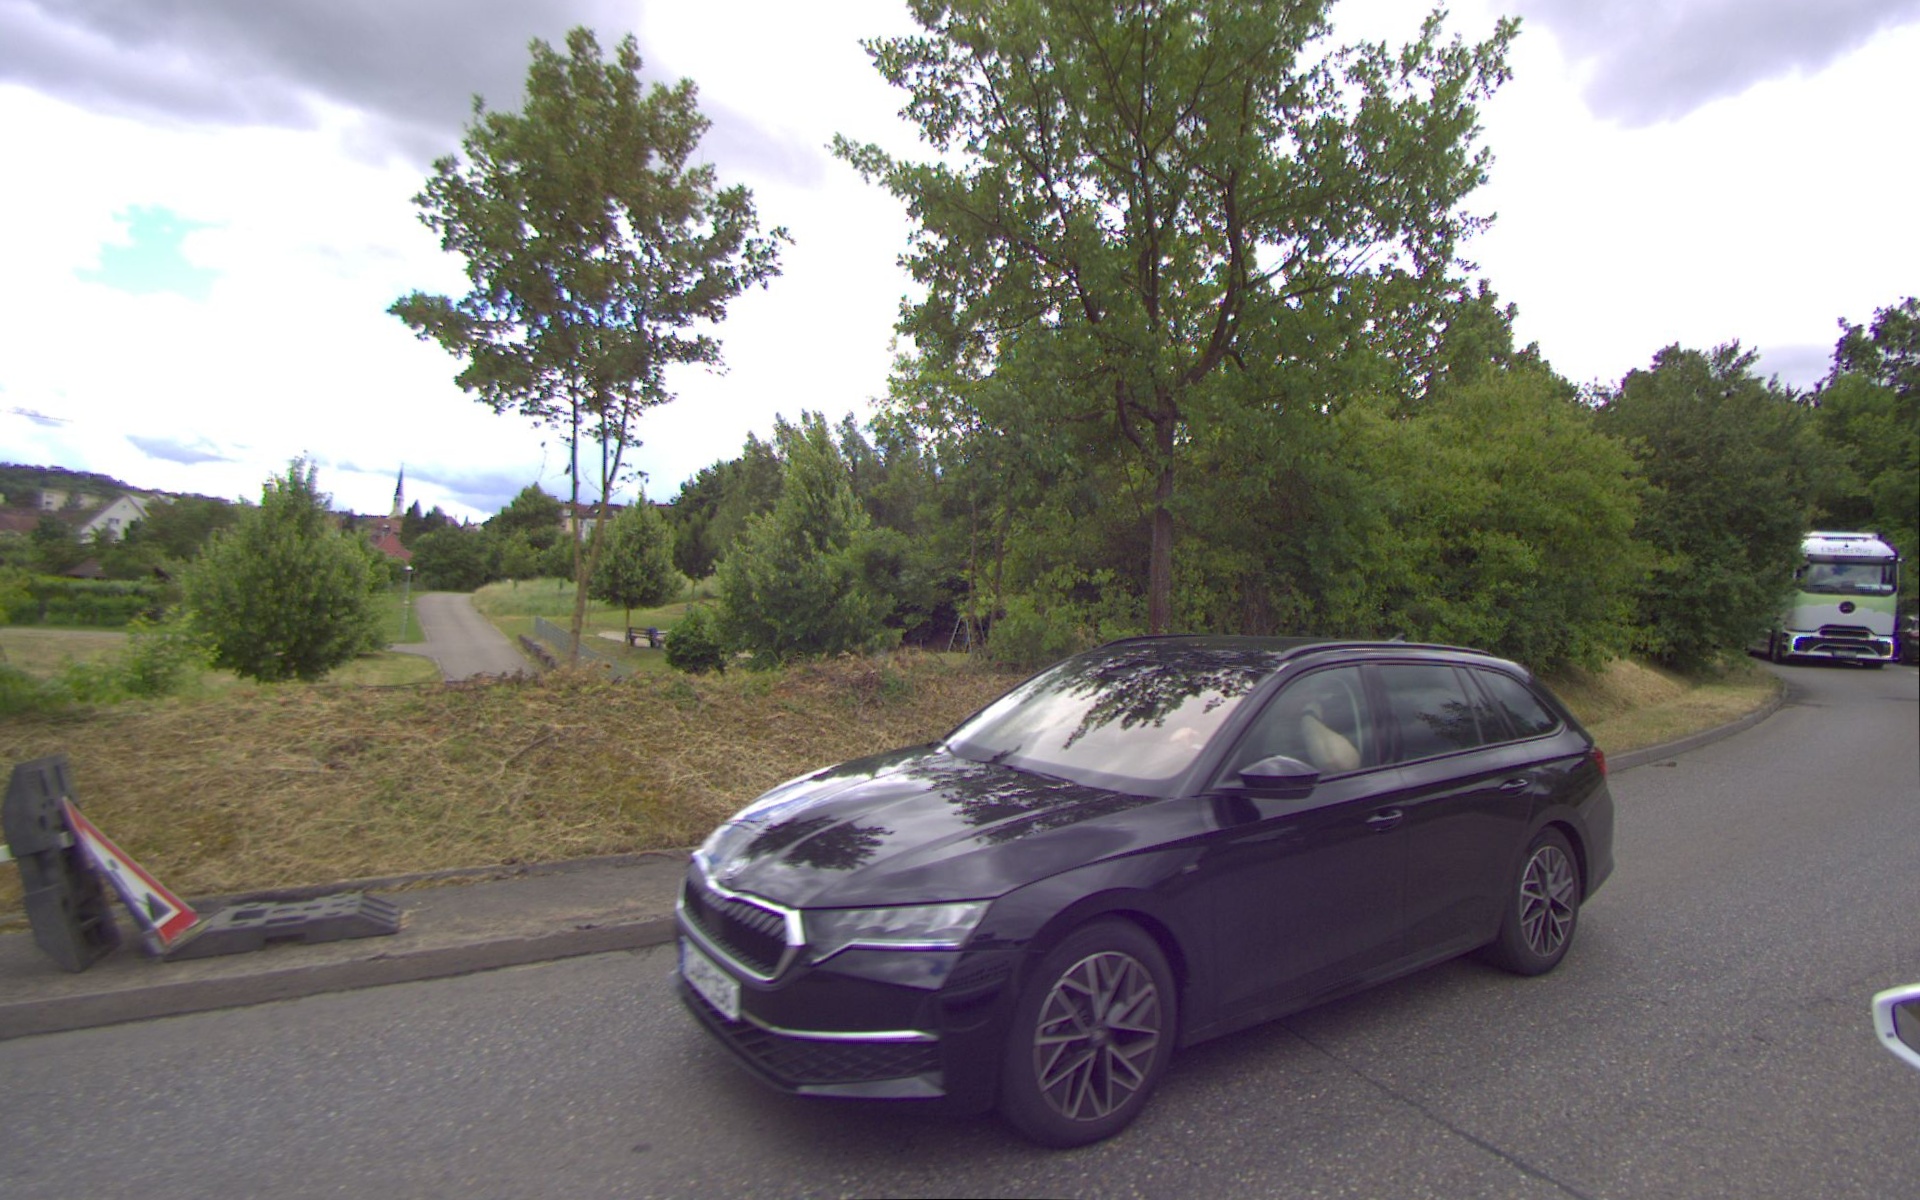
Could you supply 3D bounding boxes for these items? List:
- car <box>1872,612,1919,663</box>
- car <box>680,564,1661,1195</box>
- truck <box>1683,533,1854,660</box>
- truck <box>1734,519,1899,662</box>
[{"bbox_3d":[29.879,1.192,31.135,1.815,1.503,3.988,-1,-3,35],"label":"car"},{"bbox_3d":[1.220,0.785,4.426,4.392,1.514,1.725,3,-3,-36],"label":"car"},{"bbox_3d":[30.209,0.158,38.238,2.664,4.002,13.814,1,-2,29],"label":"truck"},{"bbox_3d":[26.470,-0.153,31.368,2.664,4.002,6.320,1,-2,29],"label":"truck"}]
